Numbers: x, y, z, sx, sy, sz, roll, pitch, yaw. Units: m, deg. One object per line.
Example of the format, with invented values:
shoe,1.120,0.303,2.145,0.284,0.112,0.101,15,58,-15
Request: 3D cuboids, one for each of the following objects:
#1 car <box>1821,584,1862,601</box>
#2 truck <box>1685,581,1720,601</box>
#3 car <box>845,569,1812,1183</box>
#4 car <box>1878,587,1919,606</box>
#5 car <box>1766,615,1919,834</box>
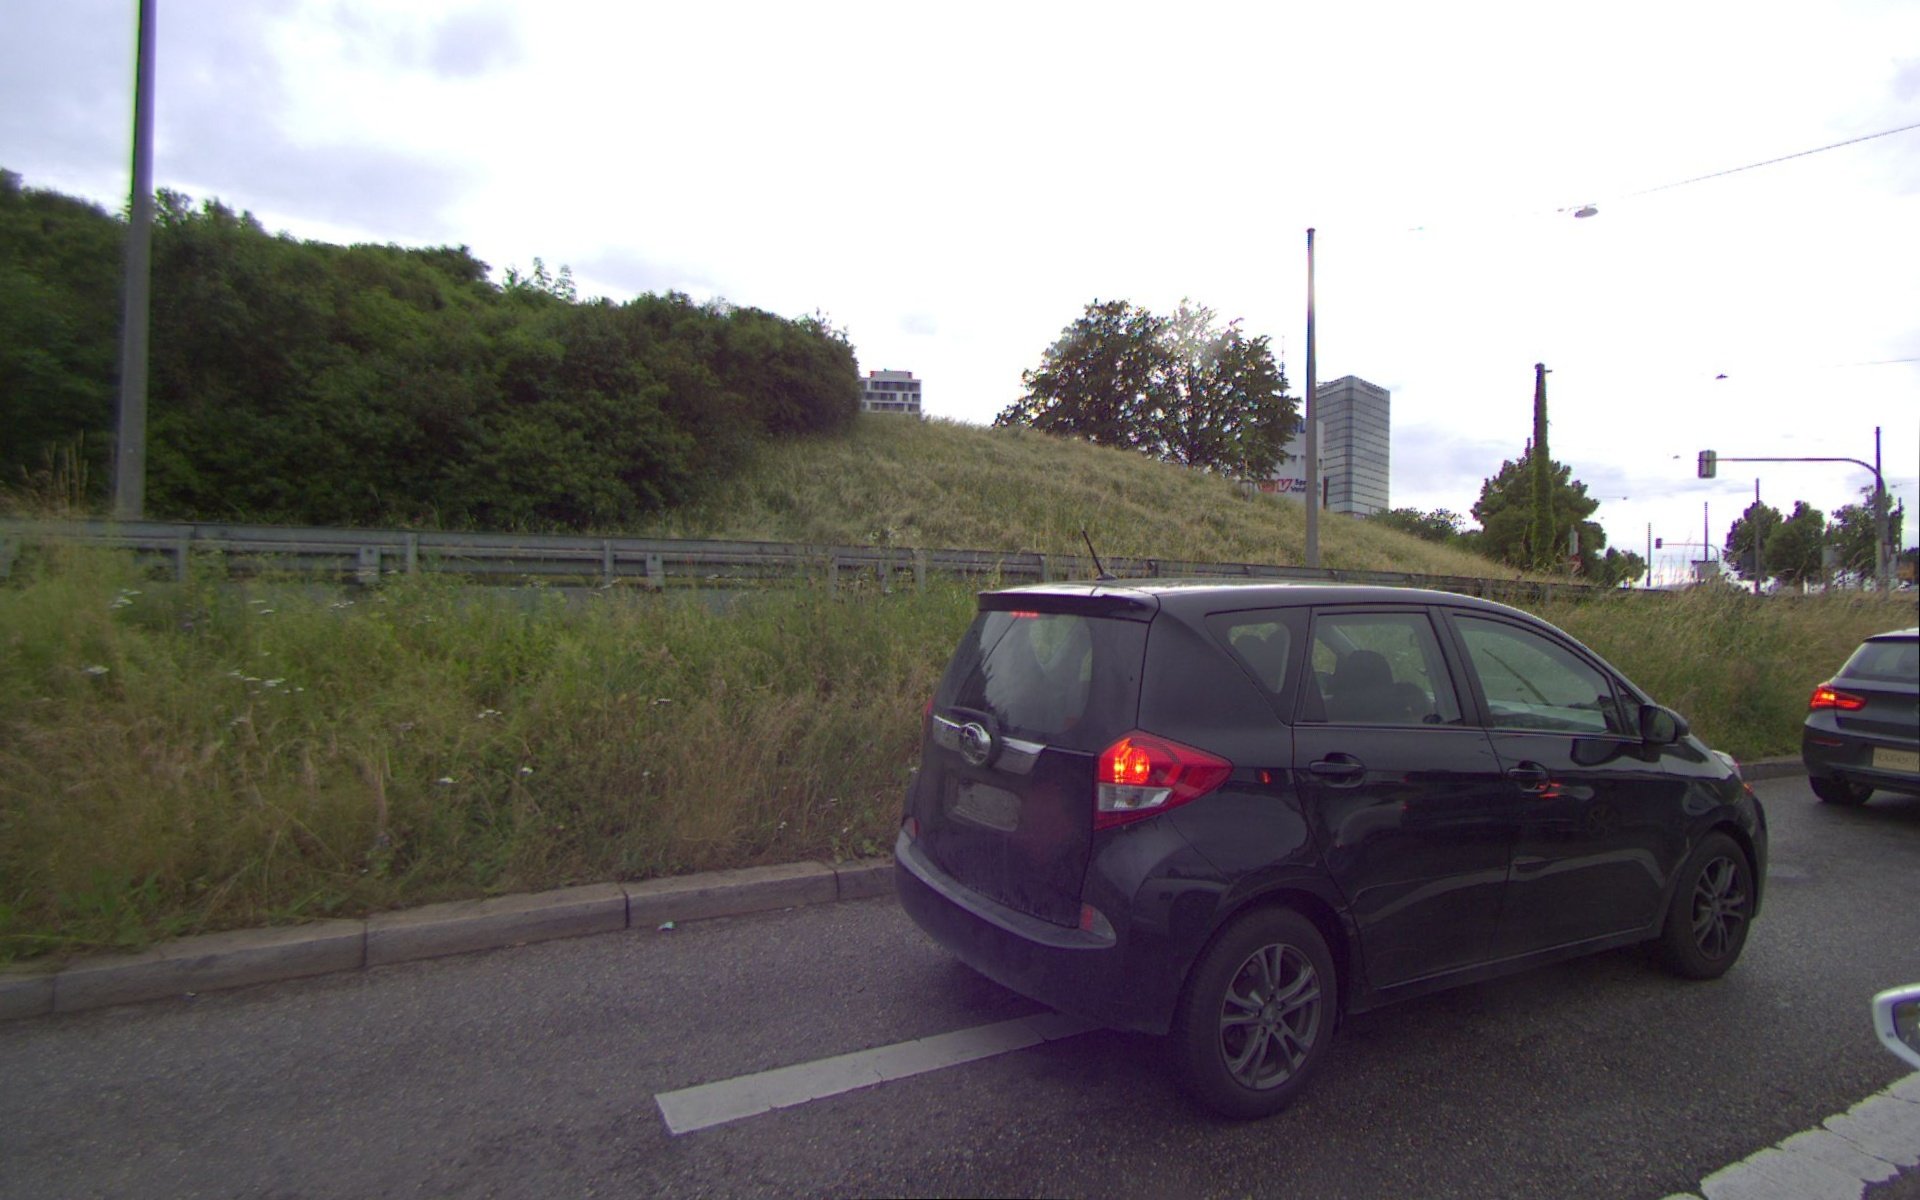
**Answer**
car,90.438,-0.744,103.120,1.962,1.497,4.417,2,-1,25
truck,123.572,-1.538,167.277,3.206,3.116,6.171,4,3,23
car,1.582,0.707,4.125,3.731,1.525,1.635,1,2,-28
car,80.885,-0.278,86.098,1.962,1.497,4.499,2,-1,25
car,8.325,0.880,7.723,4.058,1.479,1.698,1,-1,-25
